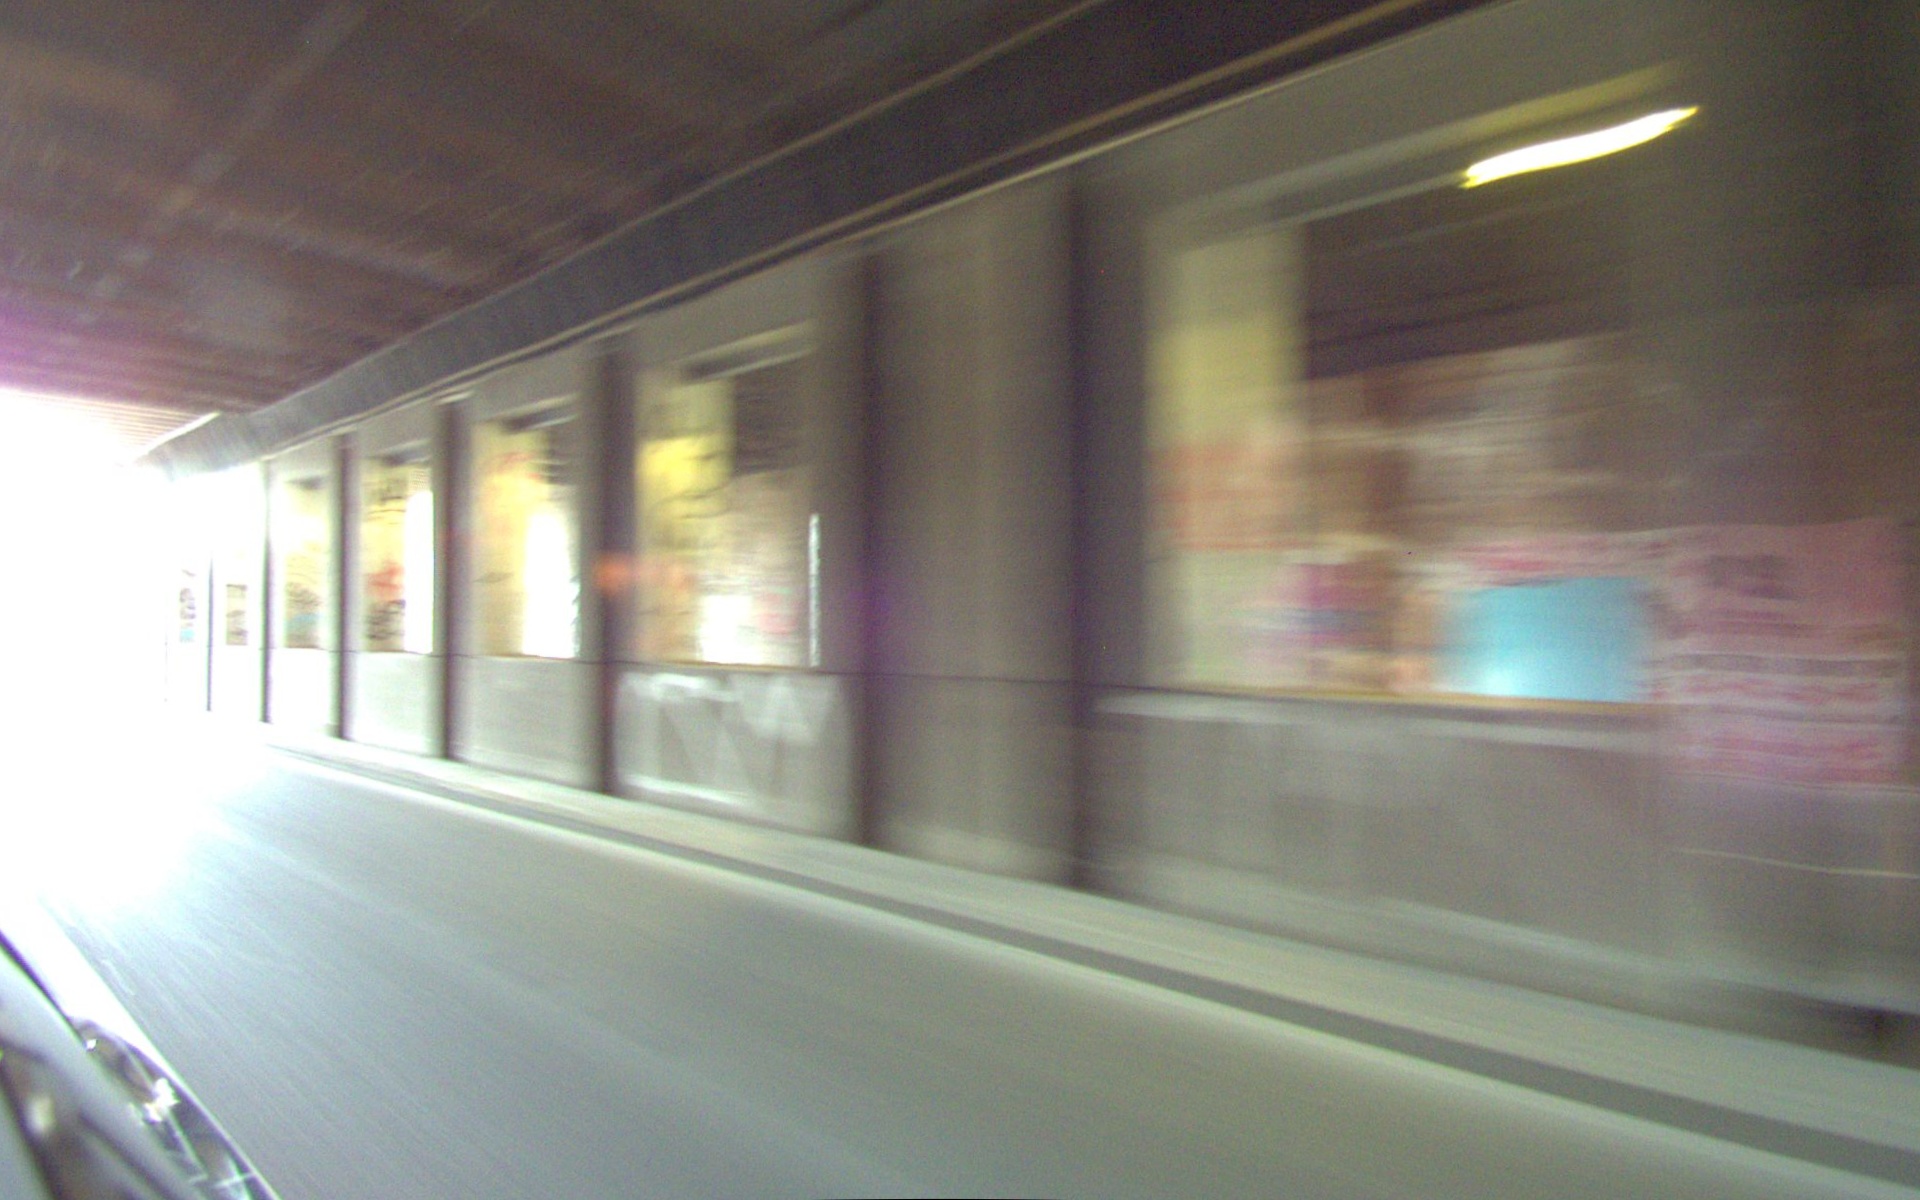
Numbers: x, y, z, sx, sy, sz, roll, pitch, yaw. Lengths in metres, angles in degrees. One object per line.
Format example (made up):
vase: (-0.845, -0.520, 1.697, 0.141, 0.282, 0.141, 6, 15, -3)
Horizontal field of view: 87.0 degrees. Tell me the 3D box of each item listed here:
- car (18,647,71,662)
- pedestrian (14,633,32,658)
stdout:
car: (-102.415, 6.102, 113.224, 1.941, 1.505, 4.149, -4, -4, 41)
pedestrian: (-63.939, 3.100, 69.050, 1.181, 1.641, 0.823, -2, -1, 43)
